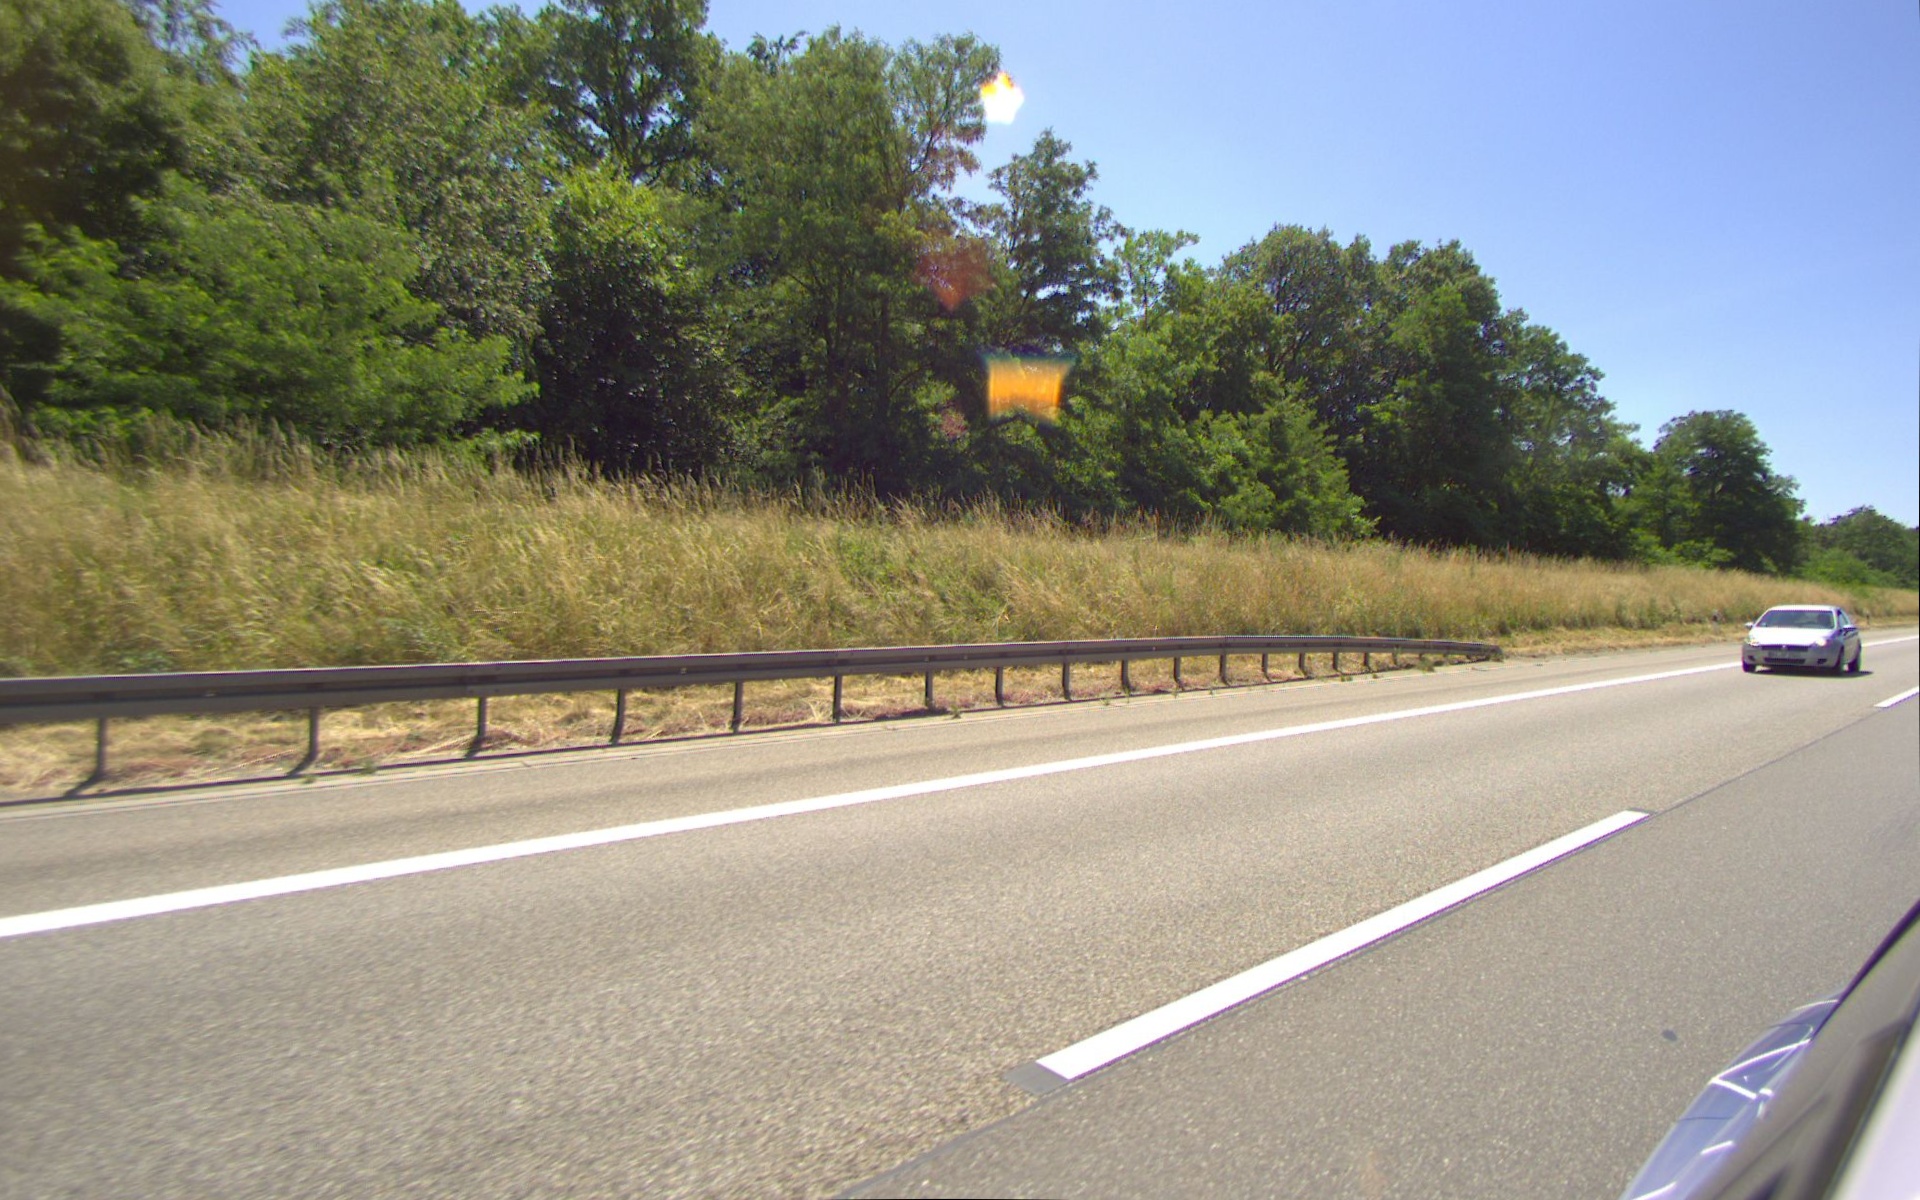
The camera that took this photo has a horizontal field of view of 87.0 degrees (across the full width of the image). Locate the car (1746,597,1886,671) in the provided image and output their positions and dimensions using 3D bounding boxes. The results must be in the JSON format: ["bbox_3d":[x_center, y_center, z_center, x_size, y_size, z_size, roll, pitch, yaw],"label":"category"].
[{"bbox_3d":[18.919,0.673,22.328,3.910,1.484,1.748,0,0,-40],"label":"car"}]
